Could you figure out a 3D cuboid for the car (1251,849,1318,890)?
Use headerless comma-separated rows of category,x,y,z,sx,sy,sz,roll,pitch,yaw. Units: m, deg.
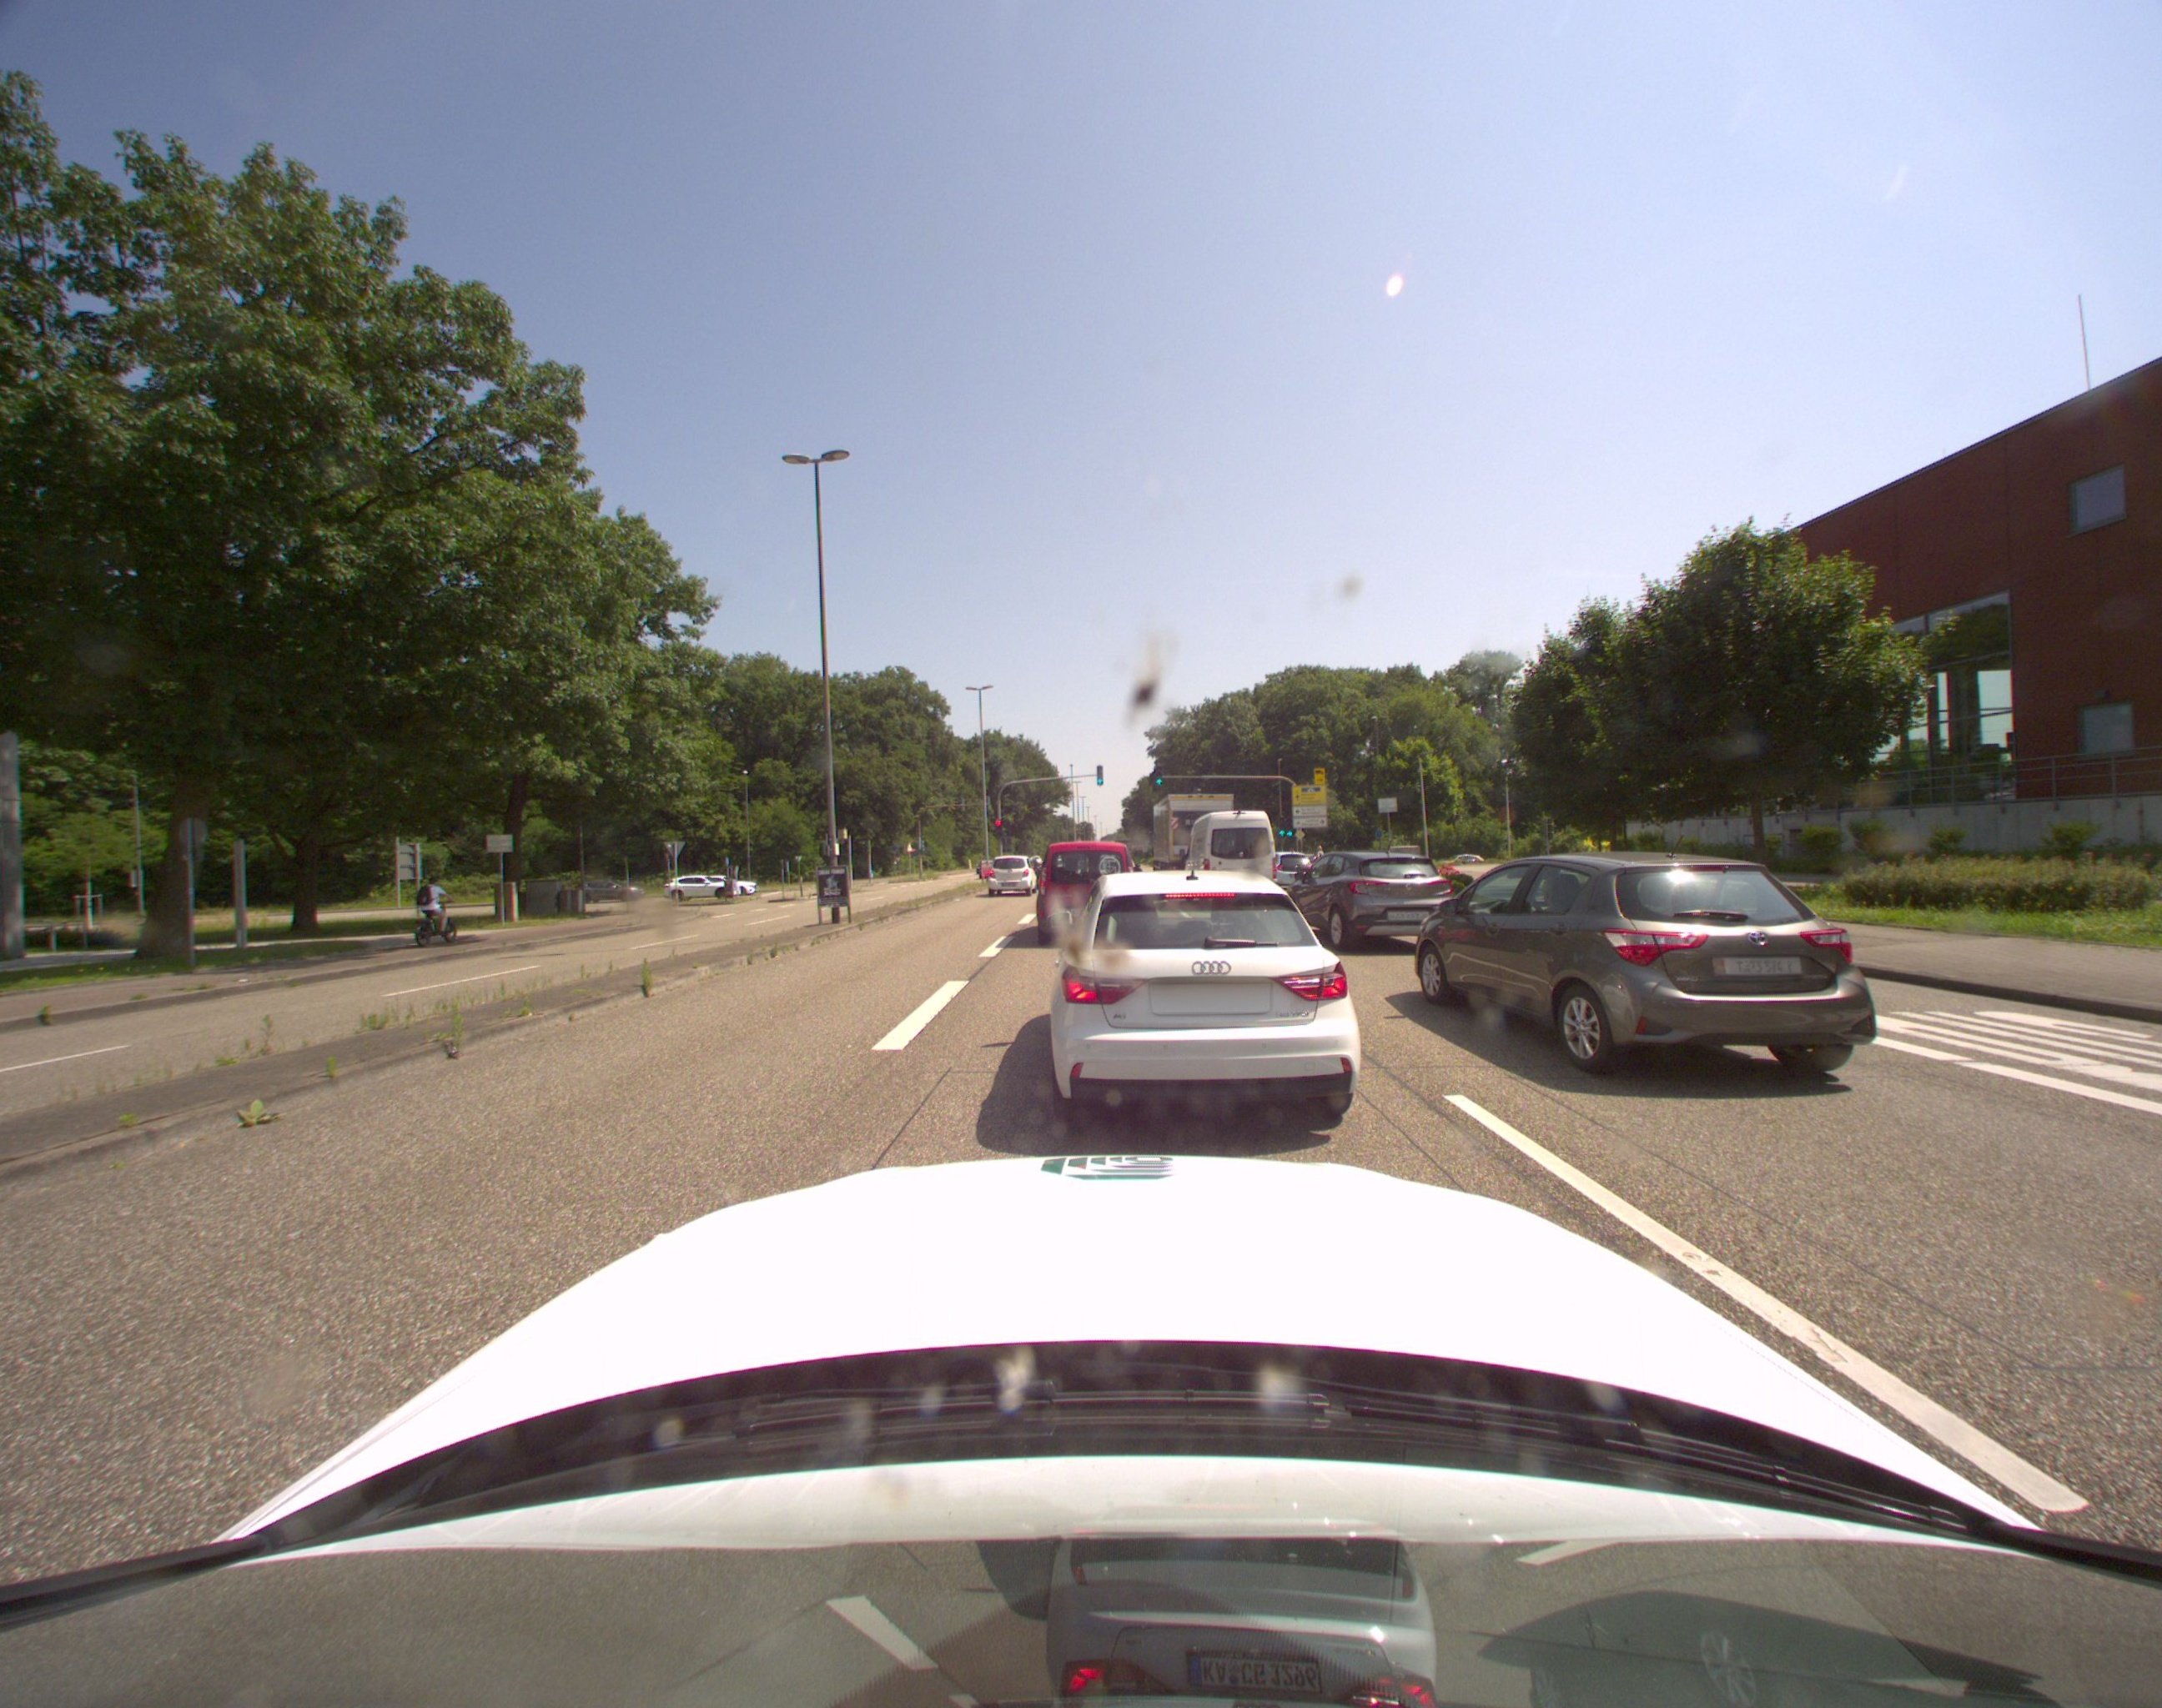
car,8.371,0.611,33.821,1.706,1.546,4.091,-1,0,0

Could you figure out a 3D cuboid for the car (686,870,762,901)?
car,-24.954,2.208,56.979,4.367,1.681,1.806,-6,0,-7

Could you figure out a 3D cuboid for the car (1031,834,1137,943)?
car,0.051,0.567,15.440,1.706,1.748,4.091,-1,0,0

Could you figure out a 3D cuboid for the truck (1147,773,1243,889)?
truck,4.867,-0.888,37.271,3.077,4.434,11.584,-1,0,2

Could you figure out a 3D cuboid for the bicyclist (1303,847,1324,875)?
bicyclist,12.106,0.353,42.406,0.603,1.439,0.819,-2,0,-43

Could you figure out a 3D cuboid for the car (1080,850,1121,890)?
car,0.830,0.675,36.279,1.706,1.631,4.091,-1,0,0

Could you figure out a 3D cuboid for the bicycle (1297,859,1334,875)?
bicycle,12.181,0.697,42.327,0.604,0.766,1.805,-2,0,-43

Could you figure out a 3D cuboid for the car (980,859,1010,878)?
car,-6.895,1.131,65.487,1.798,1.335,4.000,-6,0,1

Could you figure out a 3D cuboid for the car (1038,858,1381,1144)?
car,0.655,0.749,6.161,1.706,1.386,4.091,-1,0,0

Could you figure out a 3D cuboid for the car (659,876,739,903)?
car,-24.866,2.298,53.155,4.366,1.681,1.806,0,-1,-7

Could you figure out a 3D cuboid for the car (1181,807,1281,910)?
car,4.211,0.112,23.665,2.024,2.644,4.845,-1,0,1

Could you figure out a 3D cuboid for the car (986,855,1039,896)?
car,-2.625,0.788,32.043,1.706,1.493,4.091,-1,0,0

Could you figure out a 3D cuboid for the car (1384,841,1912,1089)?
car,4.234,0.680,7.027,1.706,1.478,4.091,1,0,0

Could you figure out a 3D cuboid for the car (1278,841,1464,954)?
car,4.711,0.634,13.884,1.706,1.593,4.091,-1,0,0

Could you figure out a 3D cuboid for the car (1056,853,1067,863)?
car,-3.770,0.749,154.927,1.866,1.861,4.000,-2,0,1

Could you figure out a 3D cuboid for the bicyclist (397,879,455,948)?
bicyclist,-16.153,1.447,20.112,0.605,1.630,0.924,-2,0,1

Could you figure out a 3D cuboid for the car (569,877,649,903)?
car,-32.577,2.452,56.340,4.371,1.681,1.804,0,-1,-10

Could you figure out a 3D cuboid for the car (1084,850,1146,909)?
car,0.964,0.715,25.035,1.706,1.631,4.091,-1,0,0

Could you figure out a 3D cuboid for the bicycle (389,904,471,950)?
bicycle,-16.120,1.778,20.218,0.615,0.969,1.661,-2,0,2

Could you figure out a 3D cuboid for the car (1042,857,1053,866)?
car,-6.686,1.540,163.095,1.824,1.728,4.001,-2,0,1
